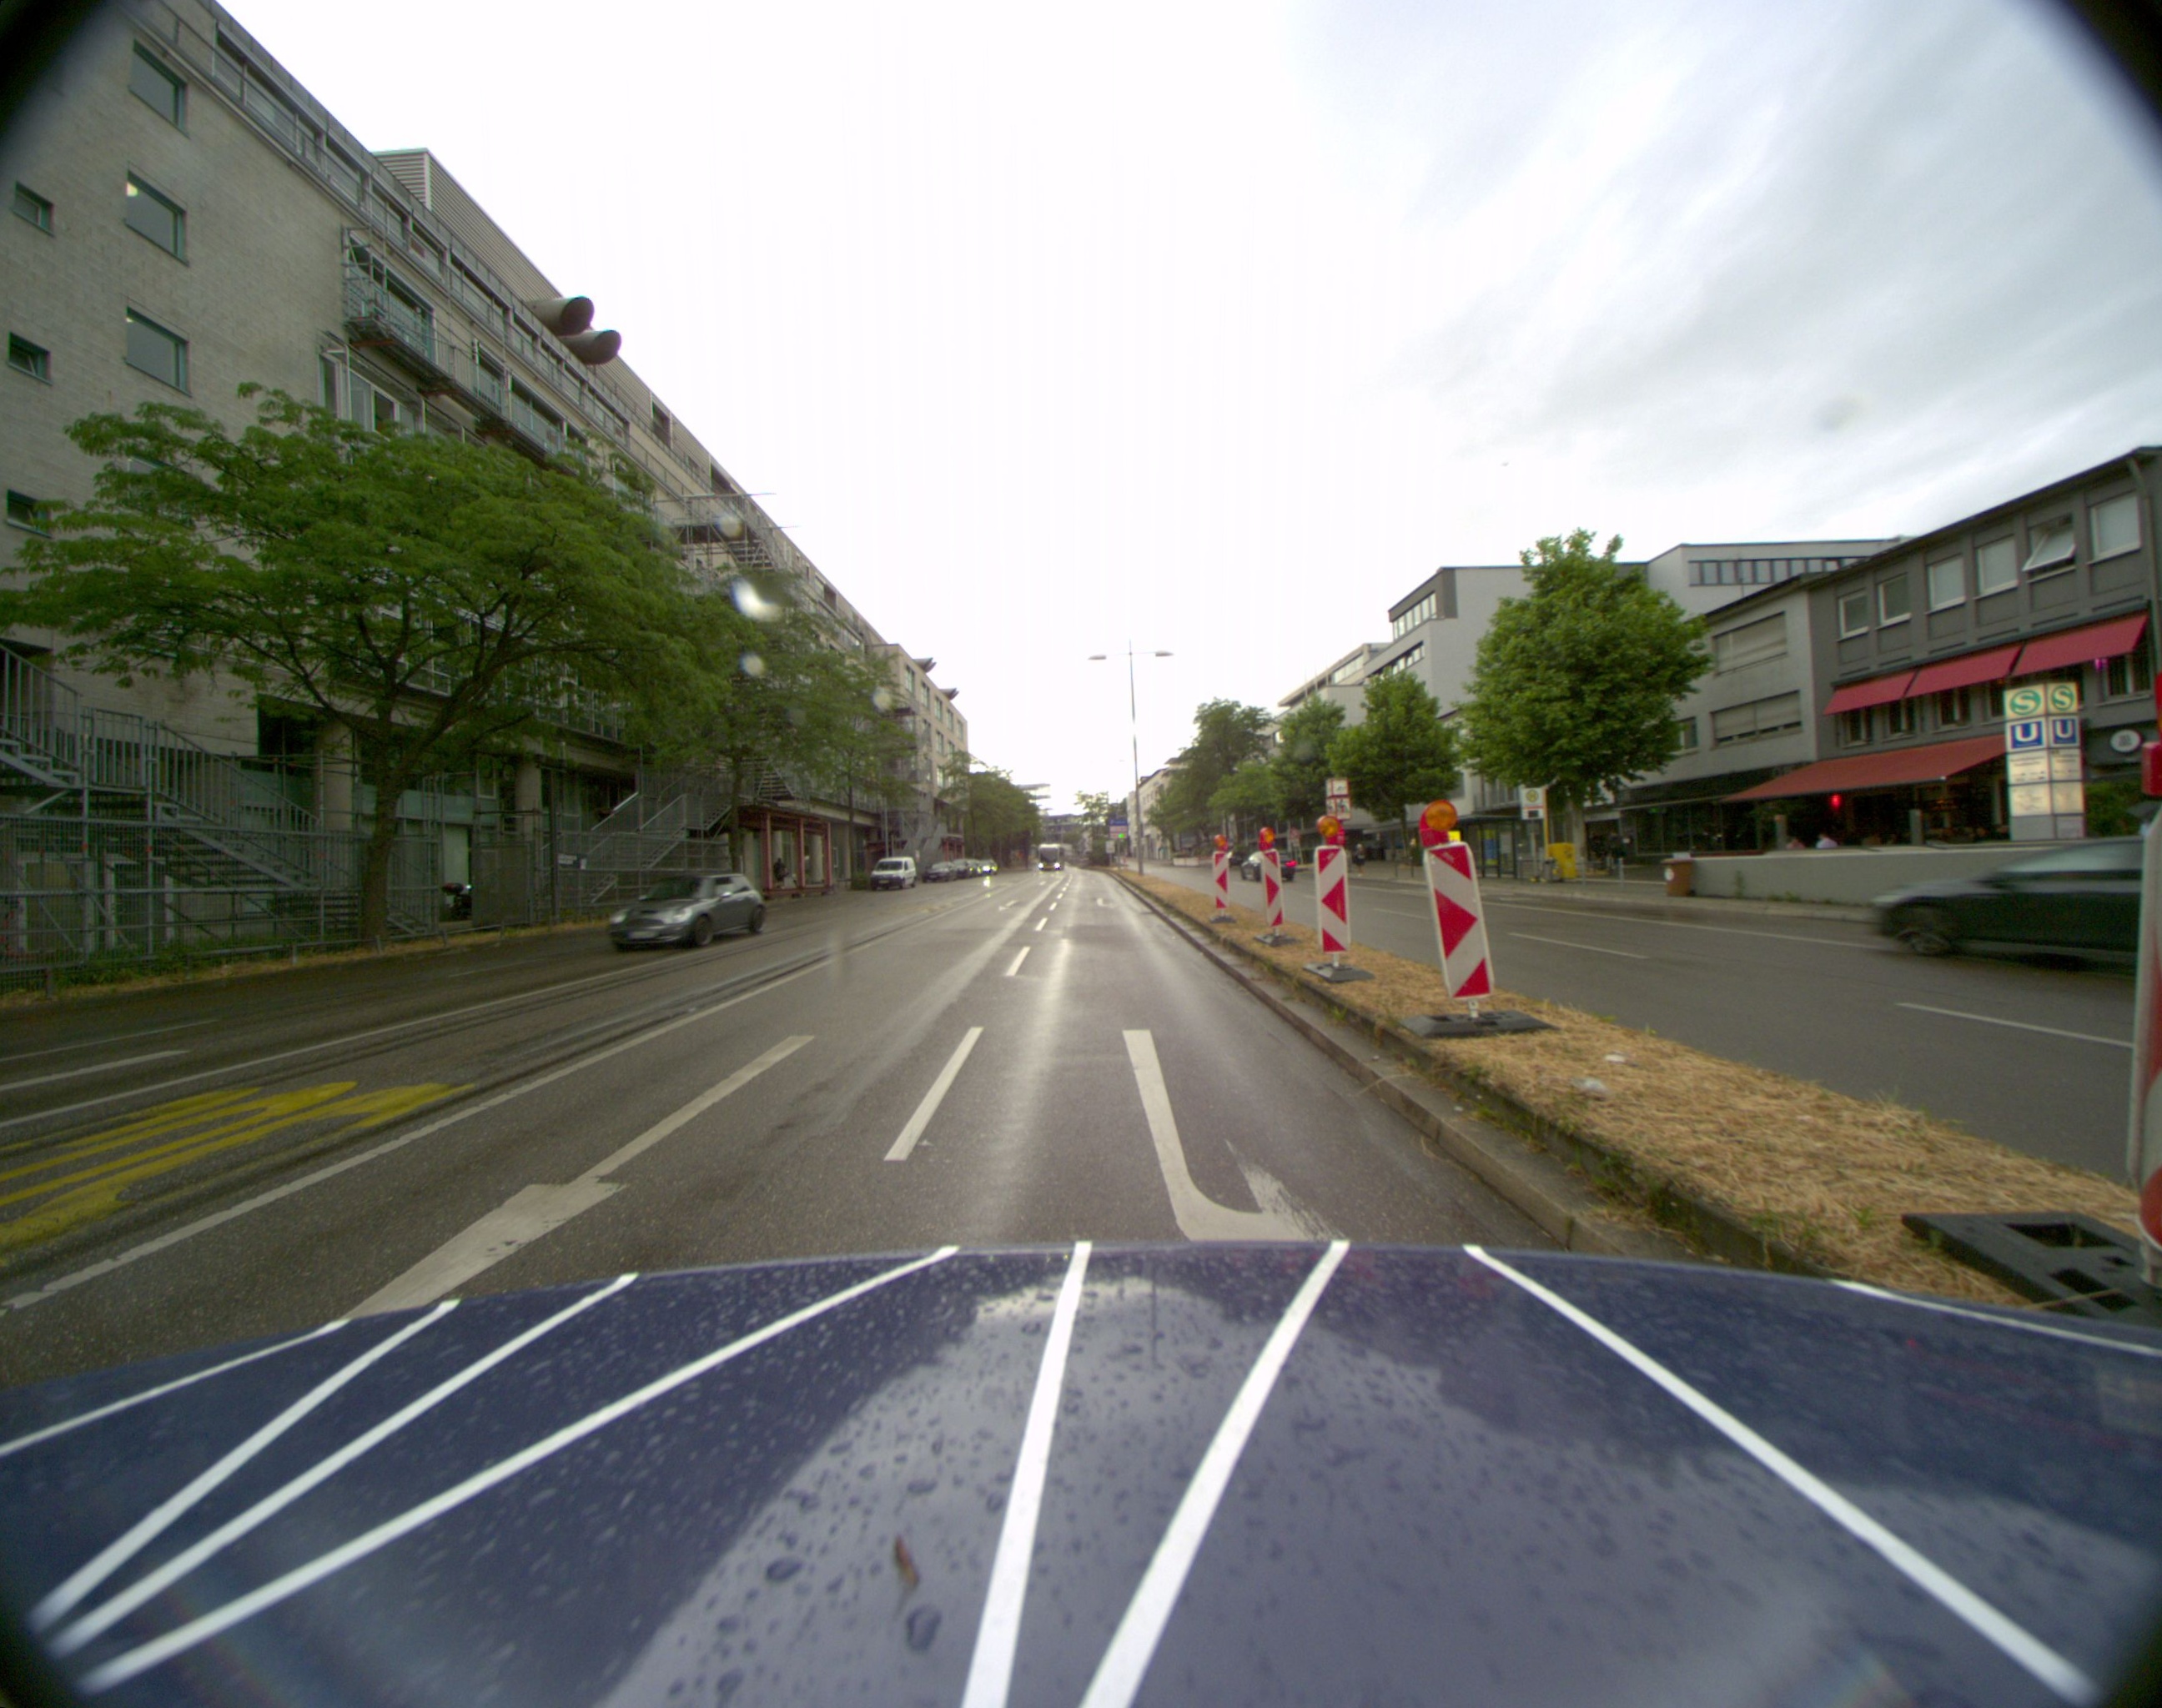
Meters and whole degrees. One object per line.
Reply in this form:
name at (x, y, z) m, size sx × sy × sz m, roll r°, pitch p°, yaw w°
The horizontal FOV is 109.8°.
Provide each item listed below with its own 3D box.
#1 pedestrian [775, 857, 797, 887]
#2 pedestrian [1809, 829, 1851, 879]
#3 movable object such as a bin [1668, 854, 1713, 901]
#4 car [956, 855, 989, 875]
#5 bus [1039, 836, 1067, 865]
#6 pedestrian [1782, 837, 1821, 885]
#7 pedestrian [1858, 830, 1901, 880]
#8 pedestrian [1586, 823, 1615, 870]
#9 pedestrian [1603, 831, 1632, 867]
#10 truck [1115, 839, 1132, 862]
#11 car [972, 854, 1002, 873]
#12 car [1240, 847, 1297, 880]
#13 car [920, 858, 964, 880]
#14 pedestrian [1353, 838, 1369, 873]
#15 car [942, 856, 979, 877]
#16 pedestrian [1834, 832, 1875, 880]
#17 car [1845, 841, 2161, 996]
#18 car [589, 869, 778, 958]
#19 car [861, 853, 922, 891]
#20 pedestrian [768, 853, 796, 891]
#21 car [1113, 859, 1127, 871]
pedestrian at (-18.318, 1.129, 47.204) m, size 1.010 × 1.789 × 0.846 m, roll -2°, pitch 1°, yaw -3°
pedestrian at (23.217, 0.003, 23.559) m, size 0.669 × 1.520 × 0.611 m, roll -2°, pitch 1°, yaw 3°
movable object such as a bin at (14.557, 0.552, 18.165) m, size 0.507 × 1.094 × 0.660 m, roll -2°, pitch 1°, yaw -2°
car at (-9.470, 0.938, 66.685) m, size 2.147 × 1.552 × 4.816 m, roll -2°, pitch 1°, yaw 0°
bus at (-3.539, -0.472, 97.909) m, size 2.890 × 3.430 × 9.756 m, roll -2°, pitch 1°, yaw 1°
pedestrian at (23.337, 0.224, 24.630) m, size 0.669 × 1.520 × 0.611 m, roll -2°, pitch 1°, yaw 3°
pedestrian at (24.987, 0.035, 23.788) m, size 0.669 × 1.520 × 0.611 m, roll -2°, pitch 1°, yaw 3°
pedestrian at (22.826, -0.333, 33.381) m, size 0.774 × 2.002 × 0.767 m, roll -2°, pitch 1°, yaw 8°
pedestrian at (23.551, -0.219, 33.359) m, size 0.774 × 1.556 × 0.767 m, roll -2°, pitch 1°, yaw 8°
truck at (7.097, -0.559, 127.111) m, size 1.999 × 3.557 × 7.572 m, roll -2°, pitch 0°, yaw -2°
car at (-8.900, 0.896, 72.422) m, size 2.147 × 1.637 × 4.816 m, roll -2°, pitch 1°, yaw 0°
car at (9.454, 0.427, 38.640) m, size 1.692 × 1.545 × 4.419 m, roll -2°, pitch 1°, yaw -2°
car at (-9.899, 1.030, 54.417) m, size 2.147 × 1.329 × 4.816 m, roll -2°, pitch 1°, yaw 0°
pedestrian at (14.471, 0.078, 39.274) m, size 0.575 × 1.815 × 0.580 m, roll -2°, pitch 1°, yaw 7°
car at (-9.630, 0.978, 61.216) m, size 2.147 × 1.486 × 4.816 m, roll -2°, pitch 1°, yaw 0°
pedestrian at (24.931, 0.060, 24.510) m, size 0.669 × 1.520 × 0.611 m, roll -2°, pitch 1°, yaw 4°
car at (10.996, 0.601, 7.940) m, size 1.692 × 1.423 × 4.213 m, roll -2°, pitch 0°, yaw -2°
car at (-7.936, 1.121, 15.611) m, size 1.743 × 1.447 × 3.722 m, roll -2°, pitch 1°, yaw 3°
car at (-10.532, 0.957, 42.652) m, size 2.213 × 1.895 × 4.329 m, roll -2°, pitch 1°, yaw 0°
pedestrian at (-16.297, 0.959, 41.491) m, size 1.009 × 2.002 × 1.039 m, roll -2°, pitch 1°, yaw 1°
car at (6.999, 2.002, 136.243) m, size 1.999 × 2.002 × 3.999 m, roll -2°, pitch 1°, yaw -2°
